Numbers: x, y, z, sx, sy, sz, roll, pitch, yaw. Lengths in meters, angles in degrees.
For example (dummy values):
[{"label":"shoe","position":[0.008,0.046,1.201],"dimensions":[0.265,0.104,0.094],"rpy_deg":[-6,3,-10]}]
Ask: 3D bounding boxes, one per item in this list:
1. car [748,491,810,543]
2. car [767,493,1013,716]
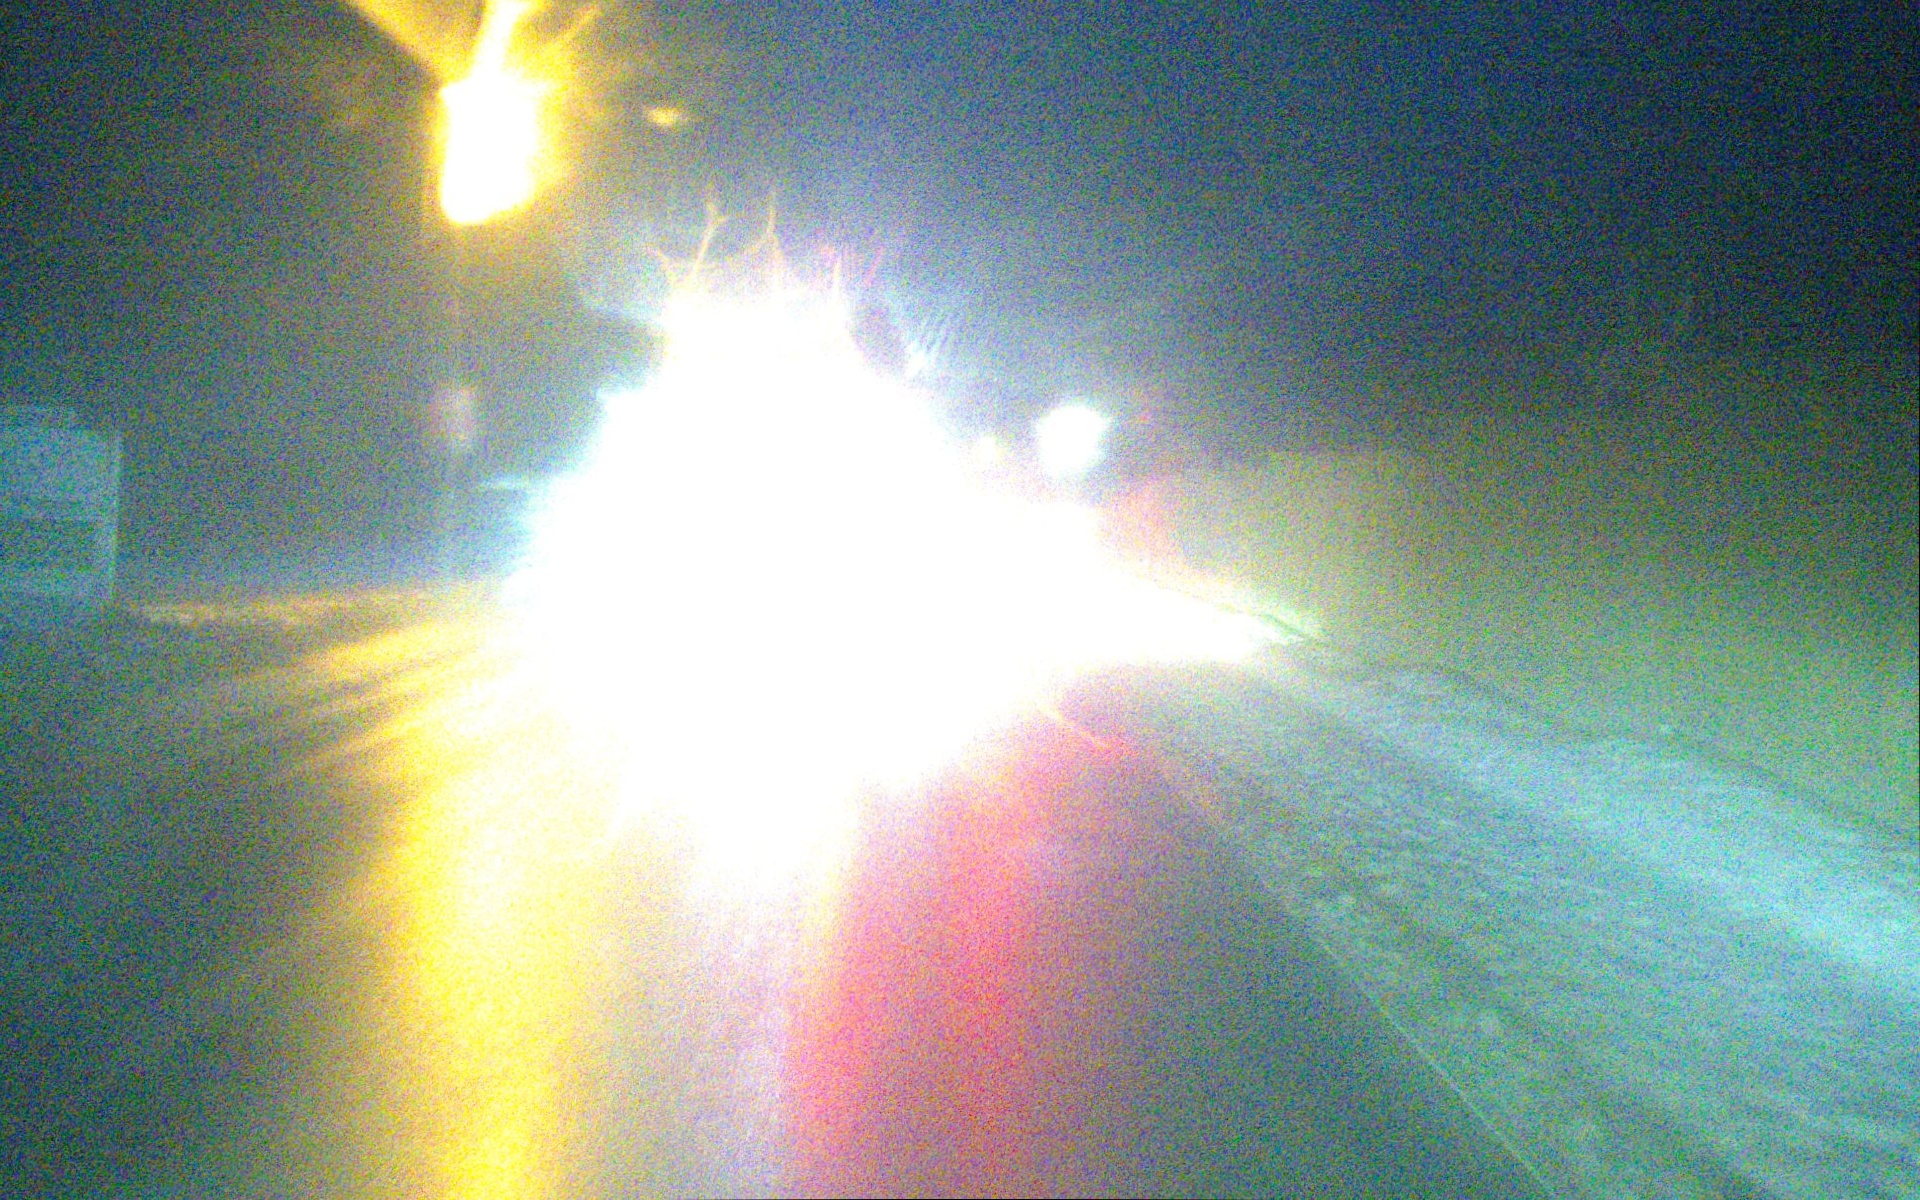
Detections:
[{"label":"car","position":[-5.466,-2.502,104.256],"dimensions":[1.731,1.513,4.016],"rpy_deg":[1,1,-2]},{"label":"car","position":[-0.547,0.015,28.006],"dimensions":[1.801,1.623,3.615],"rpy_deg":[3,1,0]}]
